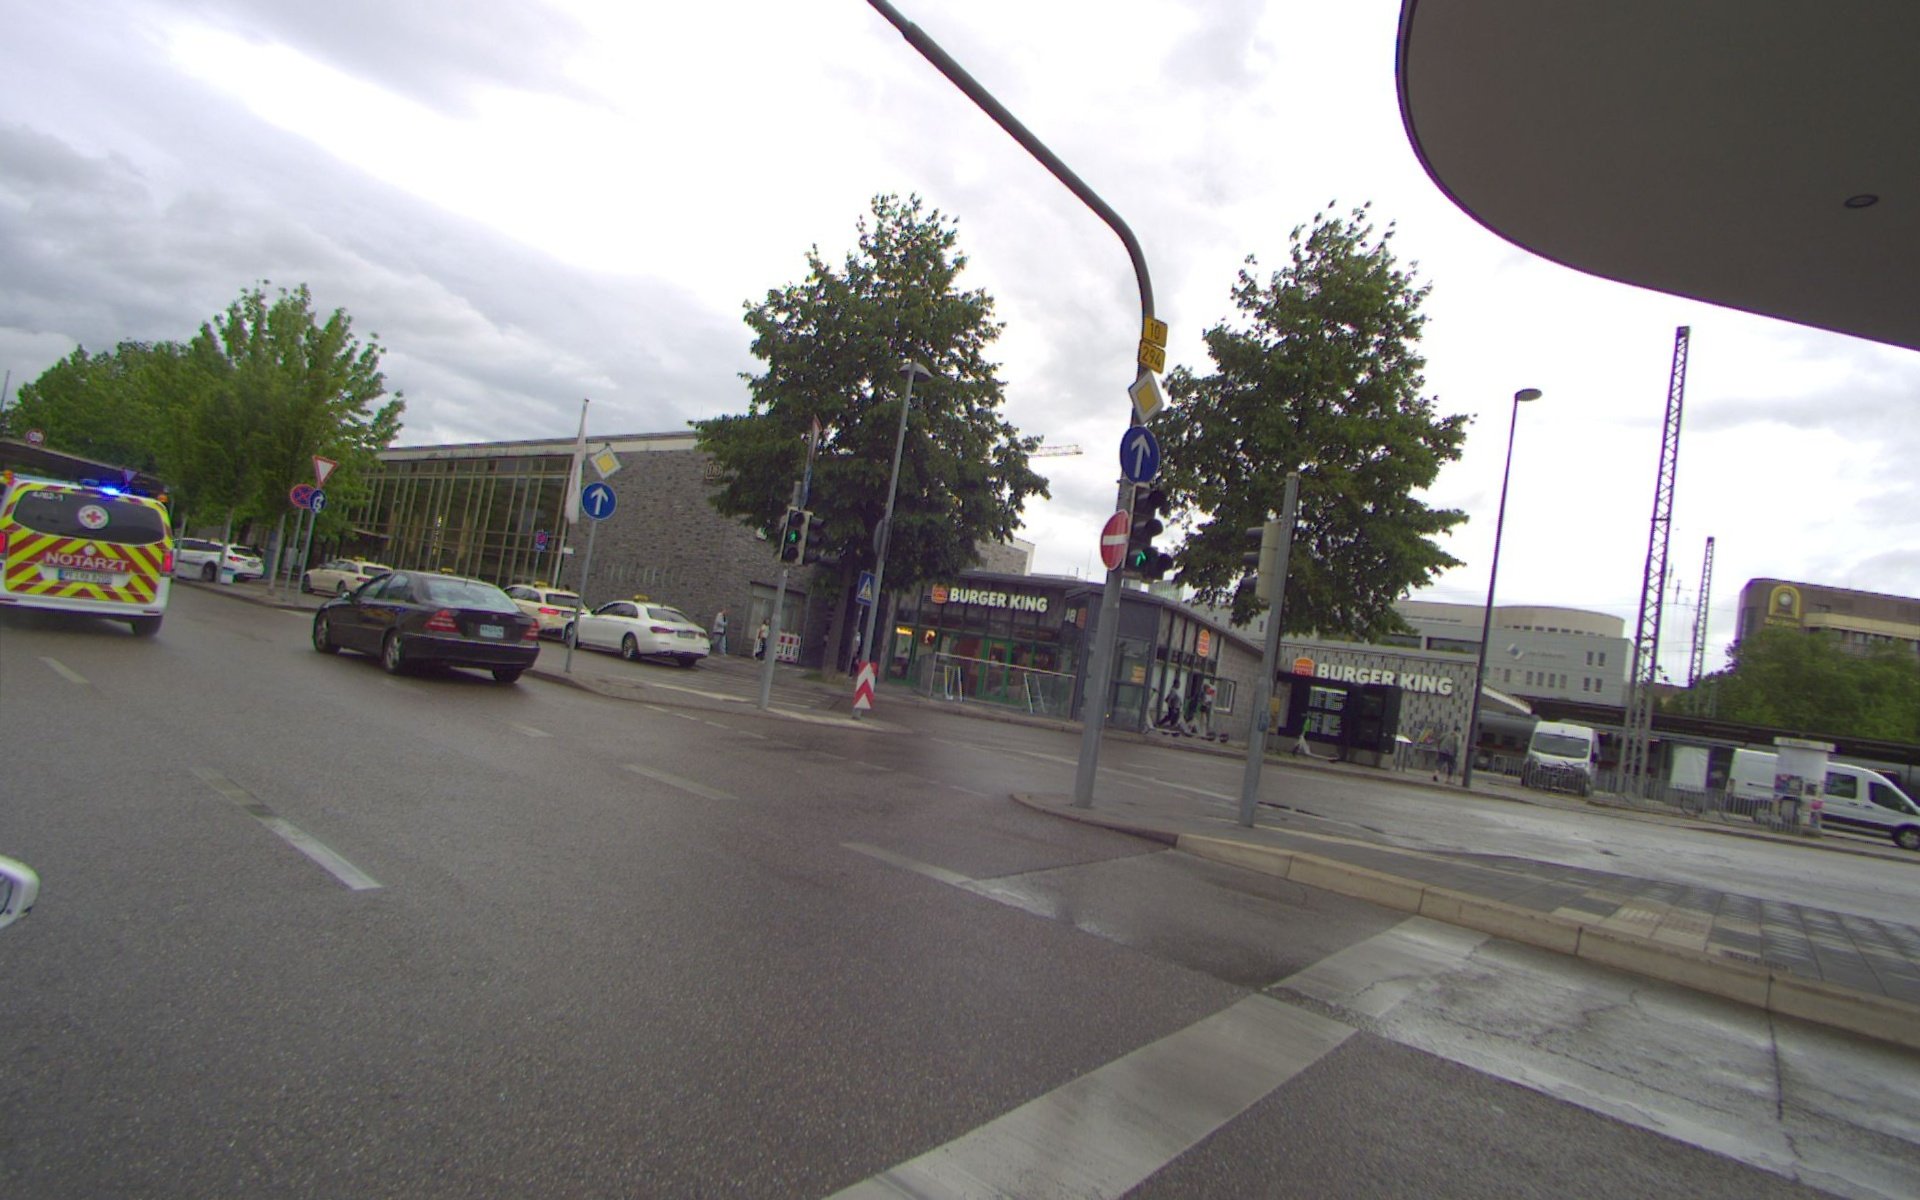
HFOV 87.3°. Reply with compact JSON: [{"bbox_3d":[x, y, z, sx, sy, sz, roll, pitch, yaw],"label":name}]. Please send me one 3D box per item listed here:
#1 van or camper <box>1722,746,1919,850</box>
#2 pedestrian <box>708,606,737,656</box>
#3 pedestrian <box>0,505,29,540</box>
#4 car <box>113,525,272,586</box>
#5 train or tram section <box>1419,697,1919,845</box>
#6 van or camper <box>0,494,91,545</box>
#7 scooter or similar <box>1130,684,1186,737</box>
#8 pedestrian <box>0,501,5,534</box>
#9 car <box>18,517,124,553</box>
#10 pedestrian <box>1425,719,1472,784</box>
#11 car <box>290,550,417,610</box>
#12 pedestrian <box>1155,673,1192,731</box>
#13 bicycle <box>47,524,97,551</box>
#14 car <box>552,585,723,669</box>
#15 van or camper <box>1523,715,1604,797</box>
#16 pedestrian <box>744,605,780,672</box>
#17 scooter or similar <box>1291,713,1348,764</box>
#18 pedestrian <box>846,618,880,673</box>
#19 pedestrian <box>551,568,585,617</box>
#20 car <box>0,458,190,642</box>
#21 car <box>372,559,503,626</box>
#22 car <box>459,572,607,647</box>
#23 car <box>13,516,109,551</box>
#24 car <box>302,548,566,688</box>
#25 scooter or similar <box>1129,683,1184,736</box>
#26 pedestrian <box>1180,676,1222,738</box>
[{"bbox_3d":[29.564,6.654,34.037,5.782,2.461,1.992,5,-2,41],"label":"van or camper"},{"bbox_3d":[-8.163,1.070,34.593,0.698,1.598,0.770,7,-1,-7],"label":"pedestrian"},{"bbox_3d":[-53.488,-4.384,56.916,1.173,1.855,0.856,5,-3,40],"label":"pedestrian"},{"bbox_3d":[-29.801,-1.710,39.152,4.688,1.562,1.766,8,-3,1],"label":"car"},{"bbox_3d":[42.474,9.713,57.878,28.895,4.230,4.589,5,-3,41],"label":"train or tram section"},{"bbox_3d":[-67.342,-5.878,73.106,2.157,2.794,5.974,7,-2,14],"label":"van or camper"},{"bbox_3d":[5.103,2.853,26.010,1.279,1.196,0.334,7,-1,7],"label":"scooter or similar"},{"bbox_3d":[-44.468,-3.709,46.034,0.822,1.766,0.748,6,-2,32],"label":"pedestrian"},{"bbox_3d":[-52.529,-3.820,59.538,1.806,1.339,4.205,6,-4,21],"label":"car"},{"bbox_3d":[12.924,4.008,26.653,0.824,1.547,0.638,7,-1,10],"label":"pedestrian"},{"bbox_3d":[-22.690,-0.769,37.559,4.877,1.618,1.997,6,-2,33],"label":"car"},{"bbox_3d":[6.646,3.165,31.316,0.711,1.686,0.796,7,-1,-11],"label":"pedestrian"},{"bbox_3d":[-45.438,-3.187,51.482,0.413,1.068,1.834,6,-2,22],"label":"bicycle"},{"bbox_3d":[-8.504,0.662,26.280,4.834,1.618,1.879,5,-3,41],"label":"car"},{"bbox_3d":[22.350,5.666,37.120,2.131,2.461,5.854,6,-3,33],"label":"van or camper"},{"bbox_3d":[-6.778,1.326,34.419,0.709,2.189,0.798,7,-1,9],"label":"pedestrian"},{"bbox_3d":[9.758,3.751,27.313,1.279,1.196,0.334,7,-1,7],"label":"scooter or similar"},{"bbox_3d":[-3.178,1.499,32.991,0.763,1.687,0.646,6,-1,19],"label":"pedestrian"},{"bbox_3d":[-14.132,-0.259,36.285,0.783,1.645,0.723,7,-1,-4],"label":"pedestrian"},{"bbox_3d":[-12.840,-0.744,14.066,4.988,2.037,1.994,5,-2,39],"label":"car"},{"bbox_3d":[-17.635,-0.274,33.853,4.886,1.616,1.995,6,-4,40],"label":"car"},{"bbox_3d":[-12.768,0.247,29.927,4.889,1.618,1.992,6,-2,41],"label":"car"},{"bbox_3d":[-55.240,-4.068,61.917,1.829,1.373,4.008,7,-4,10],"label":"car"},{"bbox_3d":[-7.618,0.208,14.374,4.389,1.482,1.694,5,-3,40],"label":"car"},{"bbox_3d":[5.187,2.890,26.606,1.279,1.196,0.334,7,-1,7],"label":"scooter or similar"},{"bbox_3d":[7.157,3.179,29.890,0.717,1.686,0.789,8,-2,-39],"label":"pedestrian"}]
